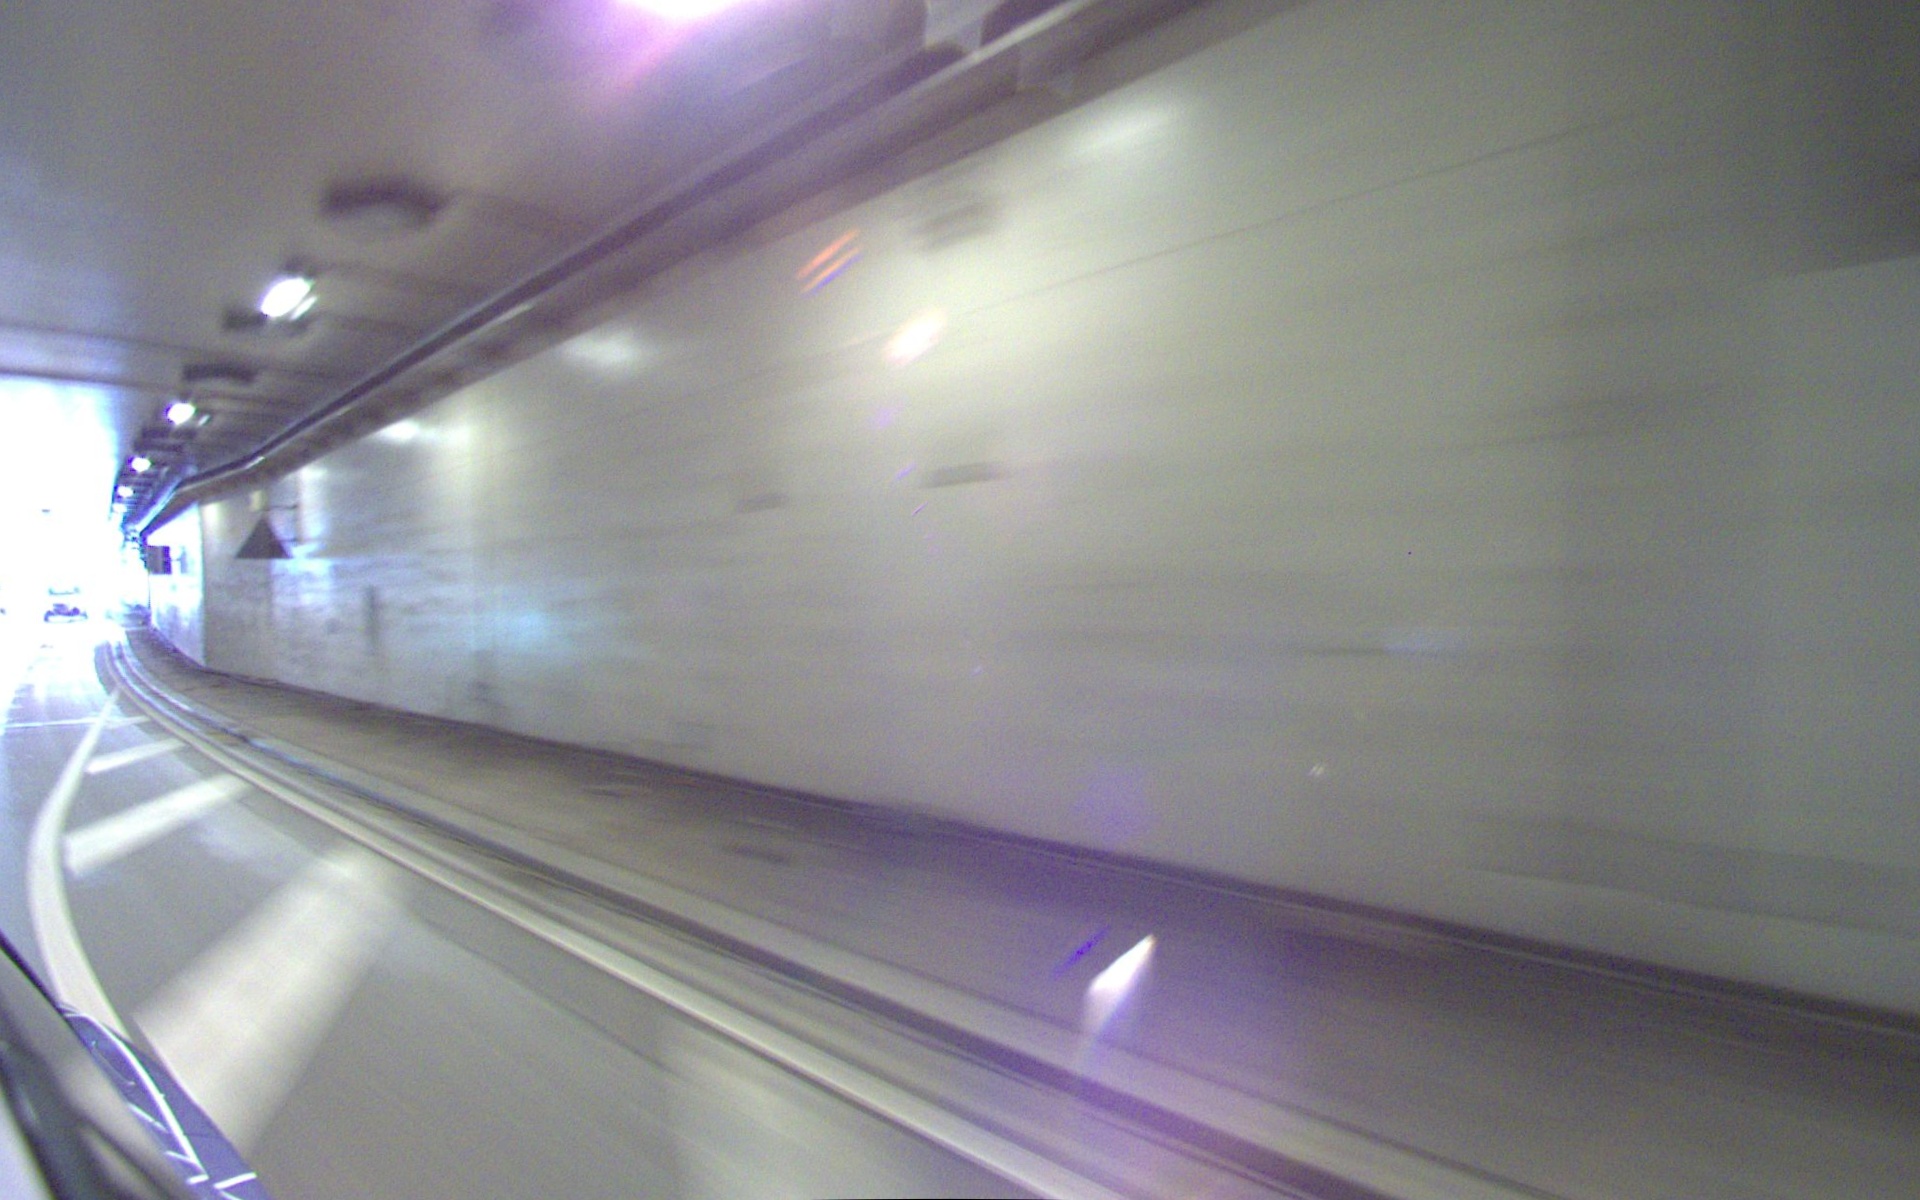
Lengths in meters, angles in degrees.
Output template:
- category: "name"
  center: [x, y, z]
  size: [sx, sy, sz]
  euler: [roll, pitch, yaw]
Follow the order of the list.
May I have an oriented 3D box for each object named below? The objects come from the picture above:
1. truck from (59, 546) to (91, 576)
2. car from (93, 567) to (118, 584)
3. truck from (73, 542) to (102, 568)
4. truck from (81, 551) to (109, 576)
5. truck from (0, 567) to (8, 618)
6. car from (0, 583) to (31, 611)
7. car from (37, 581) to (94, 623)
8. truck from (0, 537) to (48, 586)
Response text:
- category: "truck"
  center: [-108.551, -4.862, 124.187]
  size: [2.456, 3.412, 6.390]
  euler: [-4, 6, -38]
- category: "car"
  center: [-91.527, -2.604, 108.472]
  size: [1.921, 1.544, 4.008]
  euler: [-4, 7, -39]
- category: "truck"
  center: [-115.099, -5.942, 133.546]
  size: [2.456, 3.161, 6.390]
  euler: [-4, 6, -38]
- category: "truck"
  center: [-101.393, -4.294, 118.640]
  size: [2.106, 2.748, 5.684]
  euler: [-4, 6, -38]
- category: "truck"
  center: [-53.895, -0.421, 55.669]
  size: [2.045, 2.557, 6.030]
  euler: [-4, 6, -43]
- category: "car"
  center: [-66.795, -0.243, 71.333]
  size: [1.614, 1.683, 3.724]
  euler: [-4, 6, -38]
- category: "car"
  center: [-46.313, 0.050, 52.468]
  size: [1.906, 1.943, 4.205]
  euler: [-4, 4, -38]
- category: "truck"
  center: [-92.957, -3.916, 100.197]
  size: [2.843, 4.504, 10.479]
  euler: [-3, 6, -37]
